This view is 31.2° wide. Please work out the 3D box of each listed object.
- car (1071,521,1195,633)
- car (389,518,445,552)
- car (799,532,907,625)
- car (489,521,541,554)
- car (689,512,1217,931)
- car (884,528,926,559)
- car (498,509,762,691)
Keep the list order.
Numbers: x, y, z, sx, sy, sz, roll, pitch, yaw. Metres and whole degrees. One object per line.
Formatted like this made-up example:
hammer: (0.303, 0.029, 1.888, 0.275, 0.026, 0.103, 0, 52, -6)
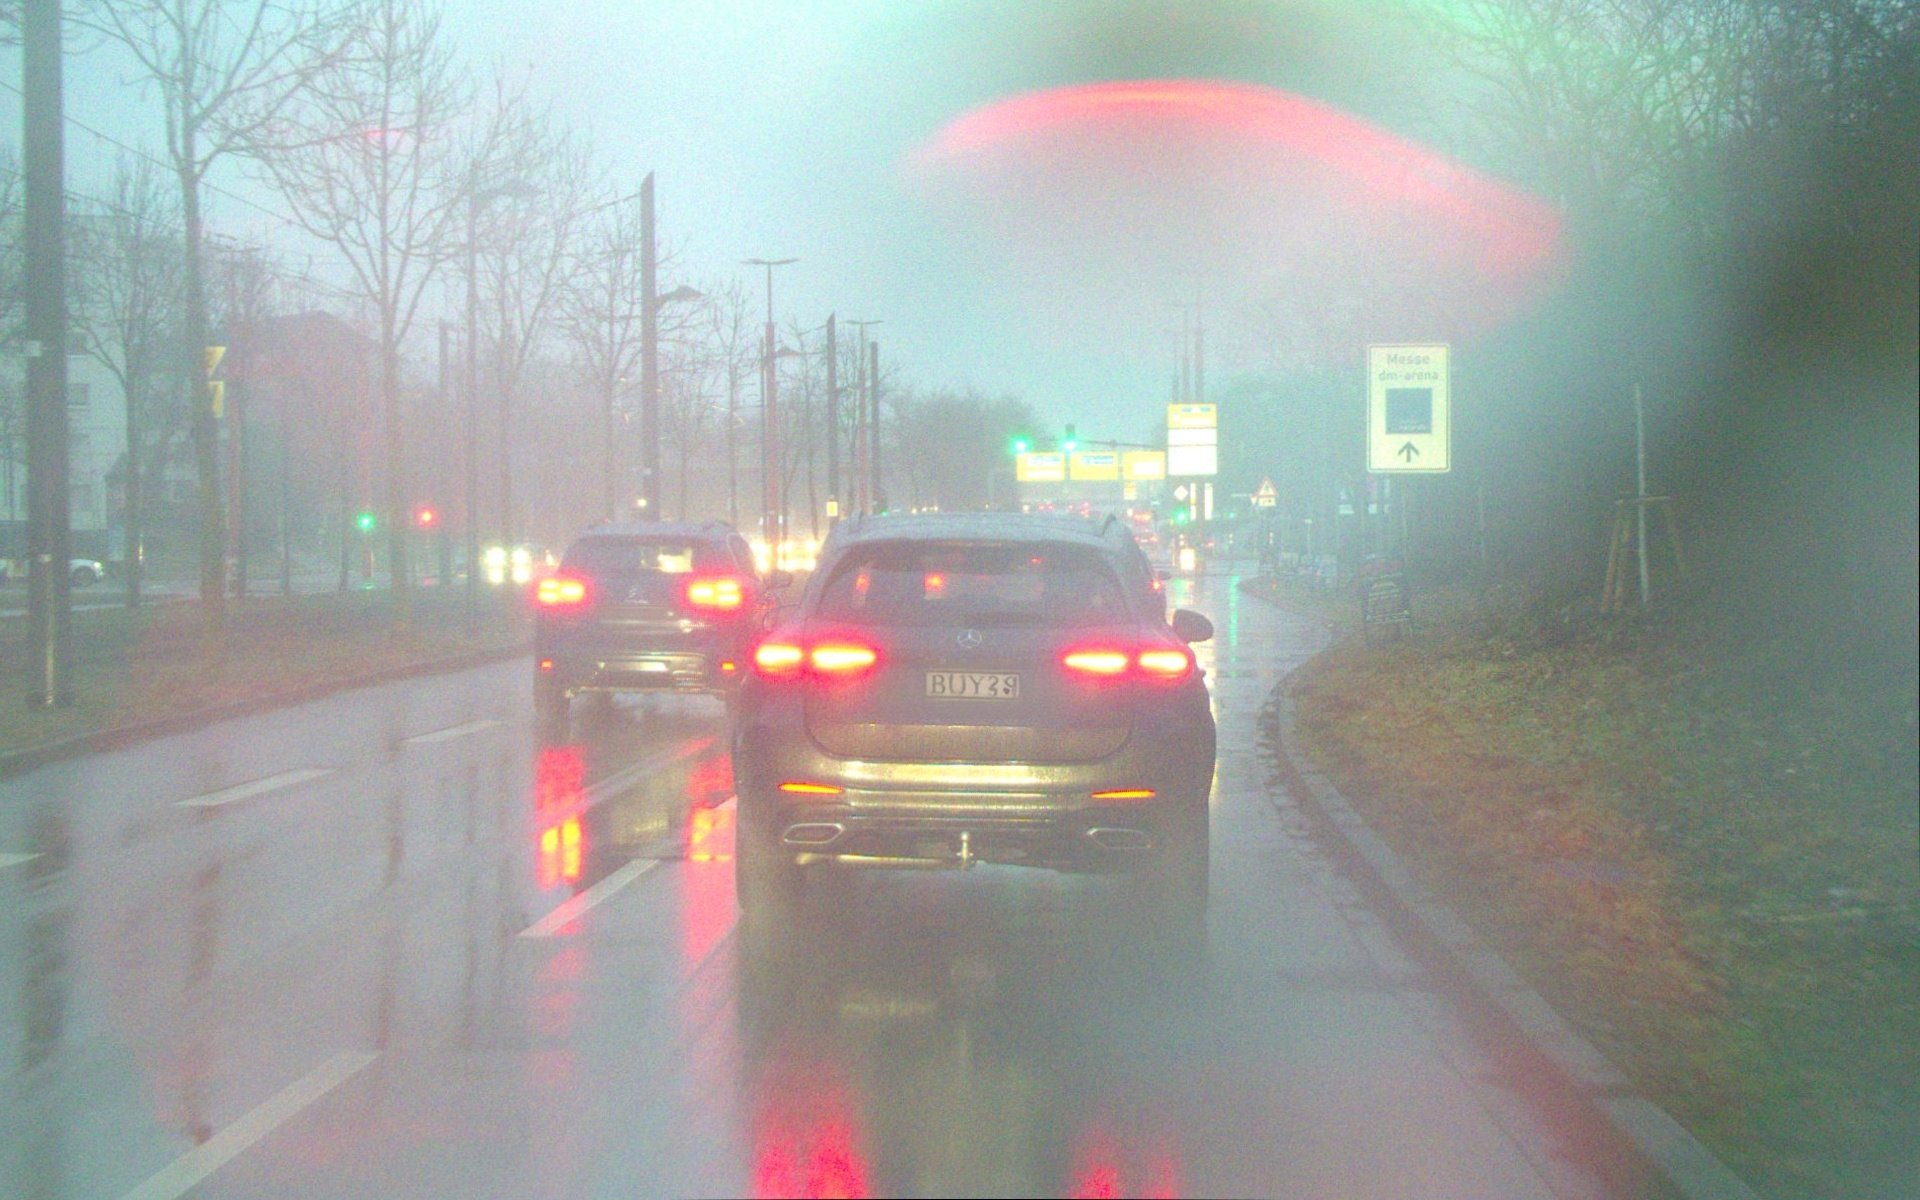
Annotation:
car: (2.523, -0.360, 49.778, 1.709, 1.552, 3.996, 0, 1, 4)
car: (-26.839, -3.209, 170.035, 1.994, 1.652, 4.000, 1, 1, 3)
car: (-1.826, -0.398, 59.567, 1.708, 1.552, 3.996, 0, 1, 0)
car: (-22.809, -3.212, 176.381, 1.994, 1.652, 4.000, 1, 1, 3)
car: (0.068, 0.412, 15.045, 1.998, 1.578, 4.000, 0, 1, 3)
car: (-2.946, -3.050, 185.155, 1.994, 1.660, 3.836, 0, 1, 3)
car: (-2.806, -0.052, 30.034, 1.880, 1.454, 4.000, -1, 2, 0)
